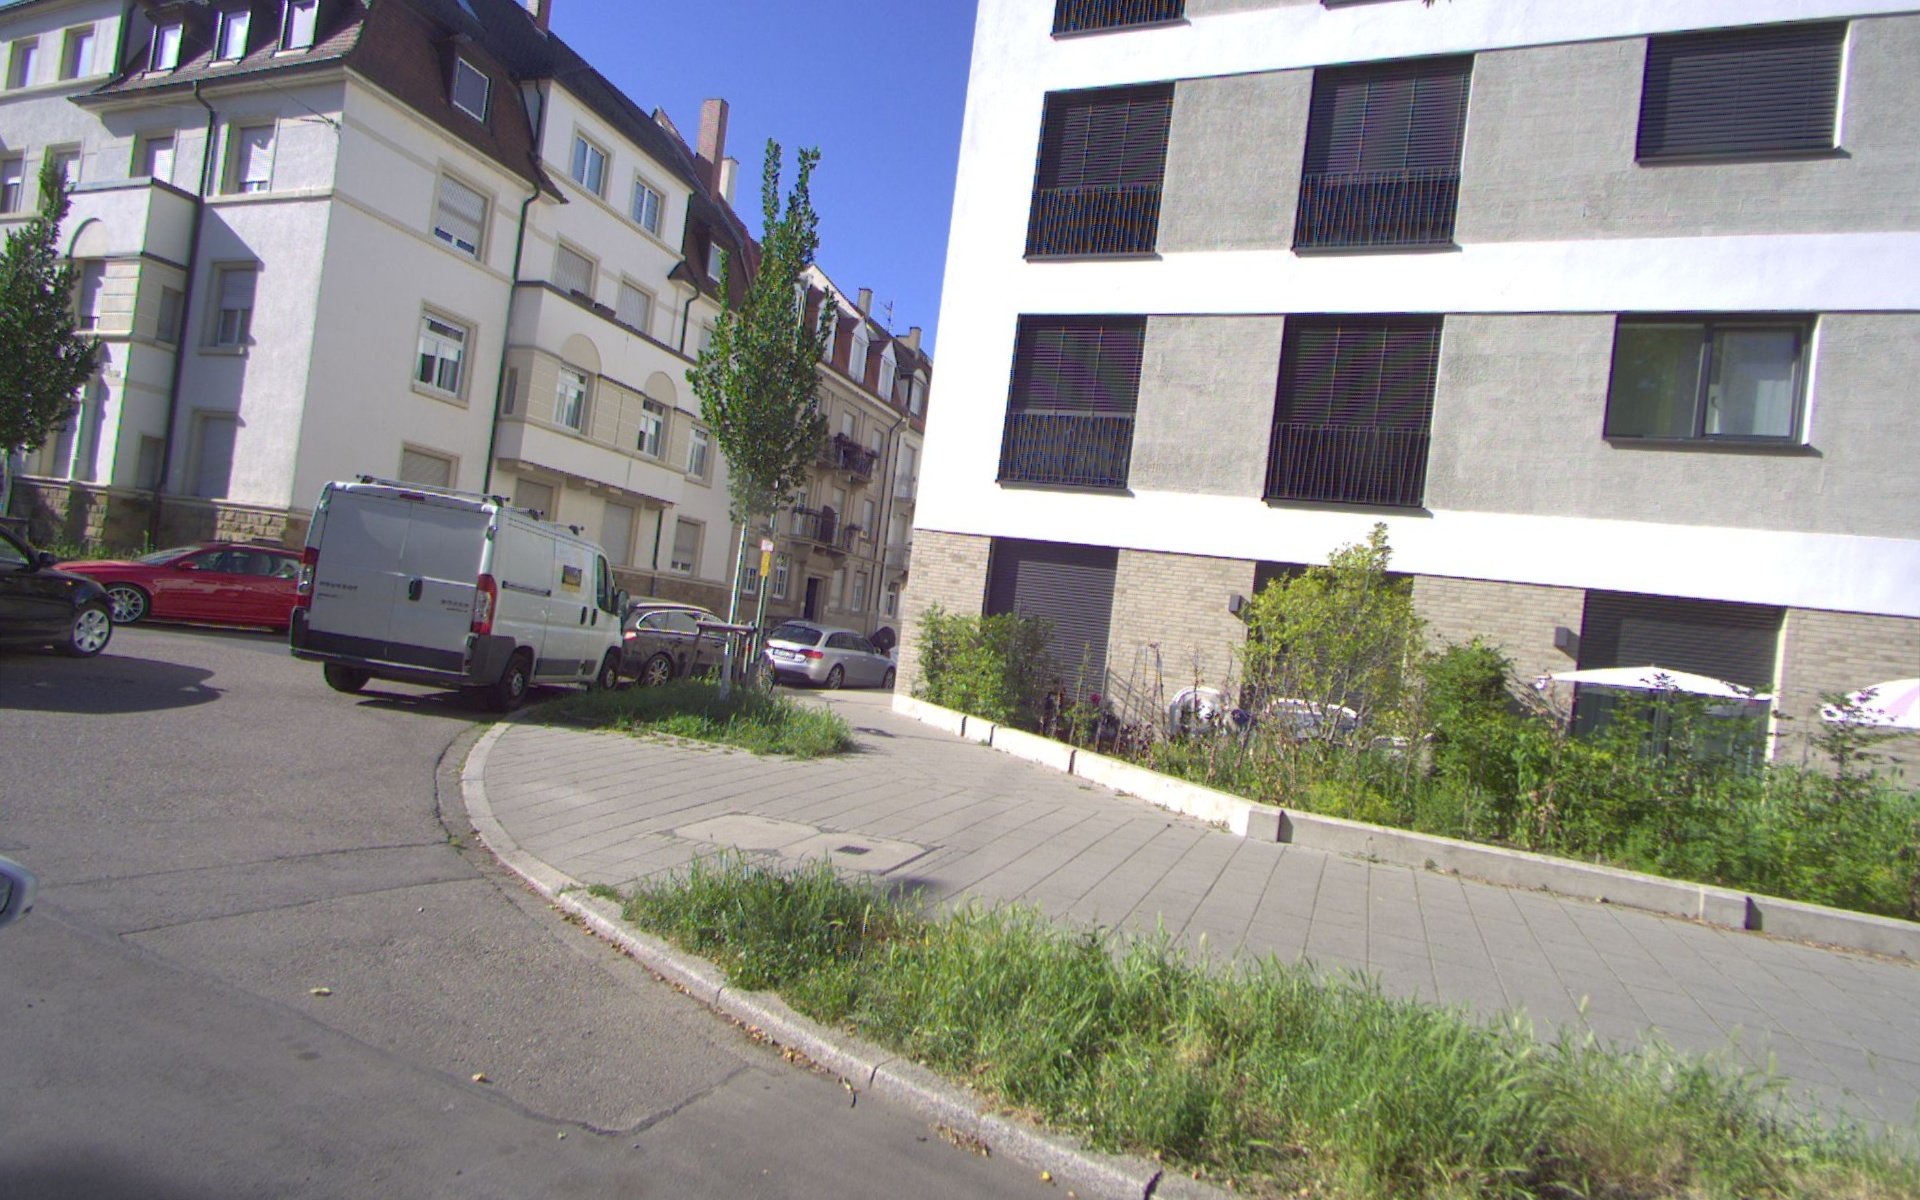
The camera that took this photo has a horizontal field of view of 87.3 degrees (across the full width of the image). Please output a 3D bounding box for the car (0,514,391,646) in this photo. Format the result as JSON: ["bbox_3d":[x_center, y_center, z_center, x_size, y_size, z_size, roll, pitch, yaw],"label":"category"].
[{"bbox_3d":[-12.369,-0.250,16.596,1.923,1.486,4.721,6,-3,36],"label":"car"}]

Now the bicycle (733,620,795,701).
[{"bbox_3d":[-3.268,0.965,16.639,0.653,1.187,1.987,8,-3,-17],"label":"bicycle"}]

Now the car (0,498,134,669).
[{"bbox_3d":[-9.513,-0.253,8.983,1.762,1.541,3.987,7,-1,-17],"label":"car"}]

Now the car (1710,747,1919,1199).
[{"bbox_3d":[3.066,1.180,0.521,3.935,1.504,1.740,7,-2,21],"label":"car"}]

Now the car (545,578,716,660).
[{"bbox_3d":[-8.318,0.551,25.818,1.800,1.659,4.187,7,-2,21],"label":"car"}]

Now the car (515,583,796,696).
[{"bbox_3d":[-5.063,0.772,17.656,2.010,1.486,4.947,7,-2,21],"label":"car"}]

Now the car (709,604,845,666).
[{"bbox_3d":[-5.796,1.179,32.519,1.794,1.486,4.947,7,-3,23],"label":"car"}]

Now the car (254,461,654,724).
[{"bbox_3d":[-5.758,0.010,12.463,2.194,2.332,5.059,7,-2,-1],"label":"car"}]

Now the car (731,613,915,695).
[{"bbox_3d":[-3.012,1.324,23.383,1.925,1.445,4.947,9,-2,22],"label":"car"}]

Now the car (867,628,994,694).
[{"bbox_3d":[-0.747,1.871,29.613,1.929,1.485,4.951,7,-3,20],"label":"car"}]
